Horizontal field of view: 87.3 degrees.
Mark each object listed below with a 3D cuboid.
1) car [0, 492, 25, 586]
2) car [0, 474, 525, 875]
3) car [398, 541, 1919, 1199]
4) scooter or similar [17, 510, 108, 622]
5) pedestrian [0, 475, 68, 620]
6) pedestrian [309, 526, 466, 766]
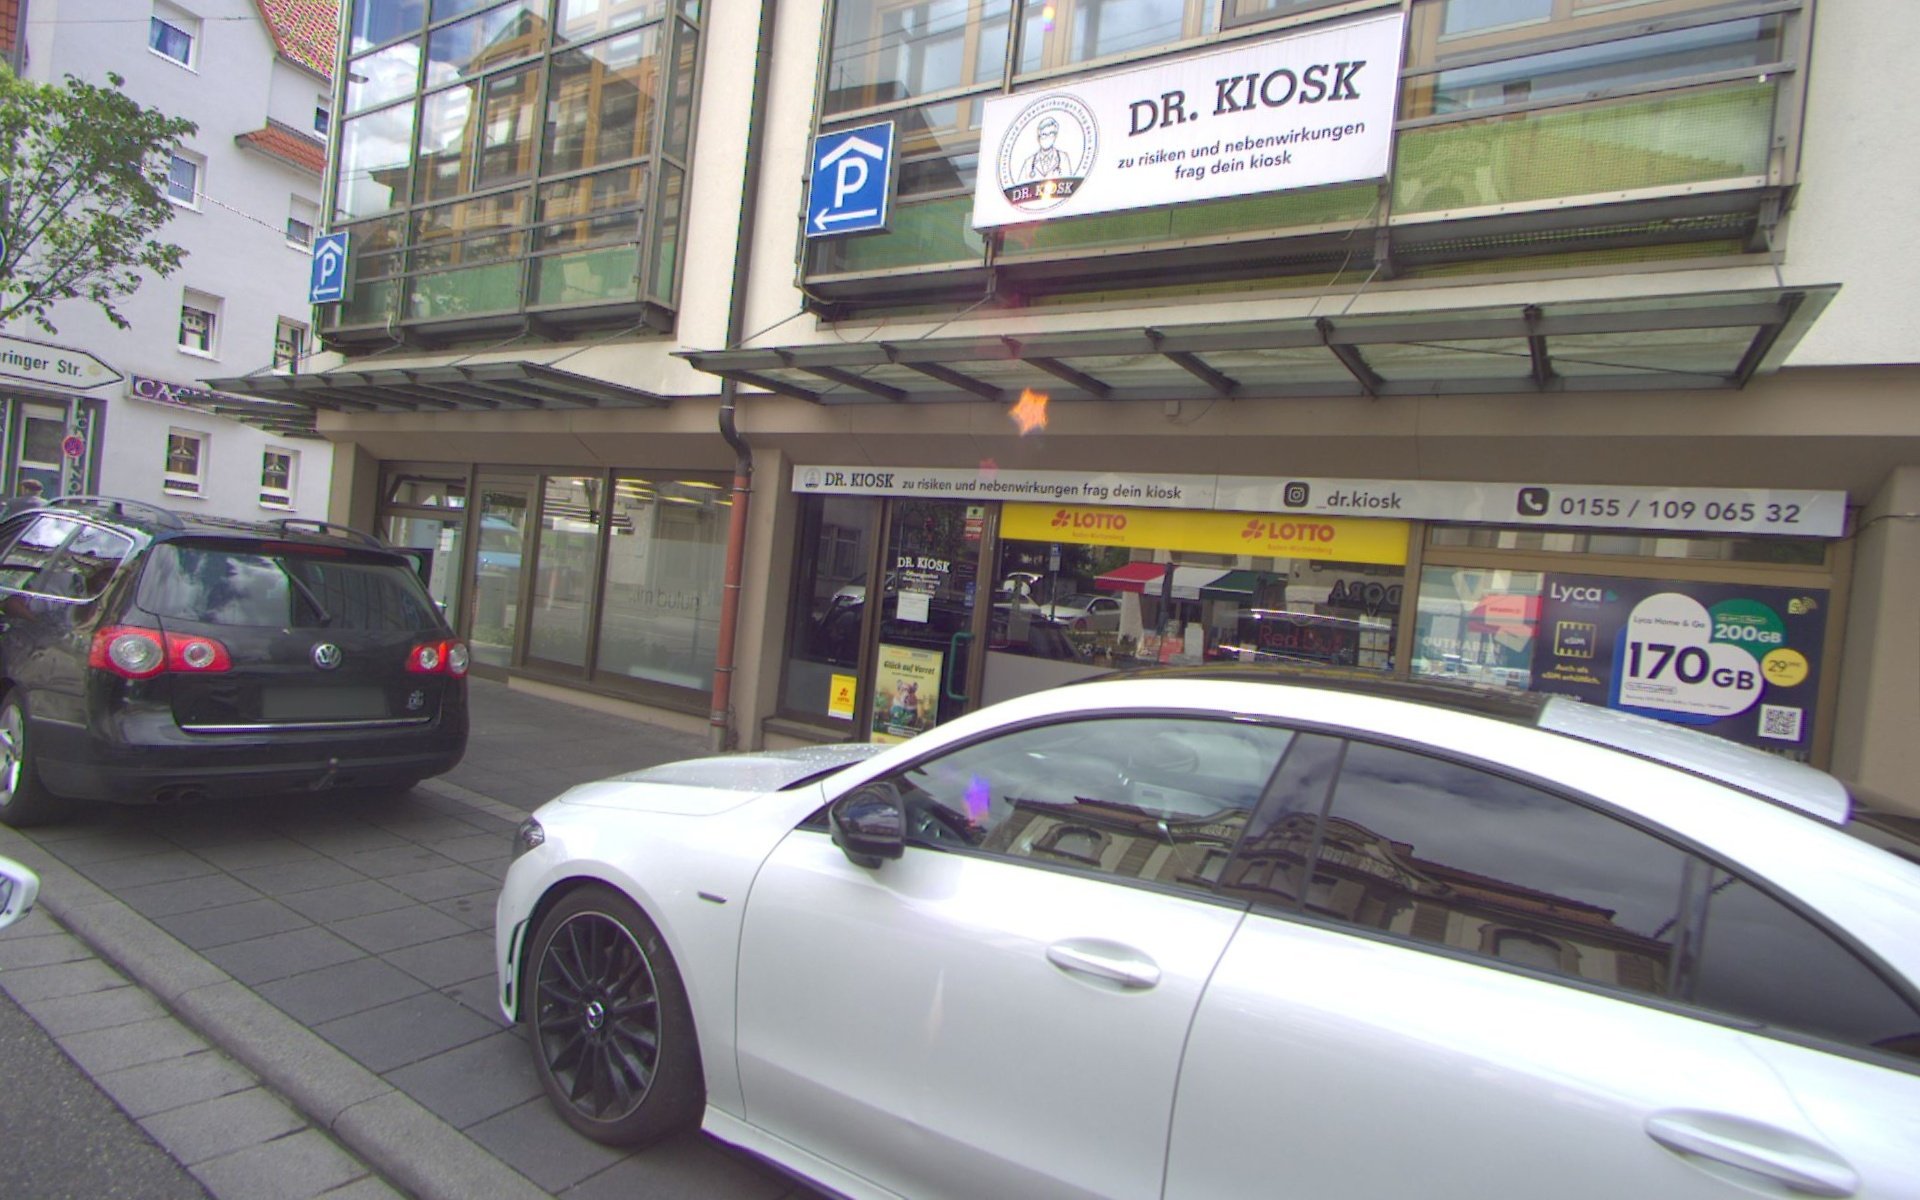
[{"bbox_3d":[-17.630,-1.267,15.971,1.513,1.547,3.750,6,-2,36],"label":"car"},{"bbox_3d":[-4.629,0.155,5.740,4.479,1.471,1.716,7,0,34],"label":"car"},{"bbox_3d":[0.747,0.844,2.587,4.461,1.462,1.854,7,0,33],"label":"car"},{"bbox_3d":[-11.445,-0.445,12.823,1.229,1.295,0.431,6,-1,33],"label":"scooter or similar"},{"bbox_3d":[-11.752,-0.658,12.613,0.473,1.723,0.572,6,-1,30],"label":"pedestrian"},{"bbox_3d":[-4.025,0.329,7.093,0.470,1.580,0.660,6,-1,34],"label":"pedestrian"}]
